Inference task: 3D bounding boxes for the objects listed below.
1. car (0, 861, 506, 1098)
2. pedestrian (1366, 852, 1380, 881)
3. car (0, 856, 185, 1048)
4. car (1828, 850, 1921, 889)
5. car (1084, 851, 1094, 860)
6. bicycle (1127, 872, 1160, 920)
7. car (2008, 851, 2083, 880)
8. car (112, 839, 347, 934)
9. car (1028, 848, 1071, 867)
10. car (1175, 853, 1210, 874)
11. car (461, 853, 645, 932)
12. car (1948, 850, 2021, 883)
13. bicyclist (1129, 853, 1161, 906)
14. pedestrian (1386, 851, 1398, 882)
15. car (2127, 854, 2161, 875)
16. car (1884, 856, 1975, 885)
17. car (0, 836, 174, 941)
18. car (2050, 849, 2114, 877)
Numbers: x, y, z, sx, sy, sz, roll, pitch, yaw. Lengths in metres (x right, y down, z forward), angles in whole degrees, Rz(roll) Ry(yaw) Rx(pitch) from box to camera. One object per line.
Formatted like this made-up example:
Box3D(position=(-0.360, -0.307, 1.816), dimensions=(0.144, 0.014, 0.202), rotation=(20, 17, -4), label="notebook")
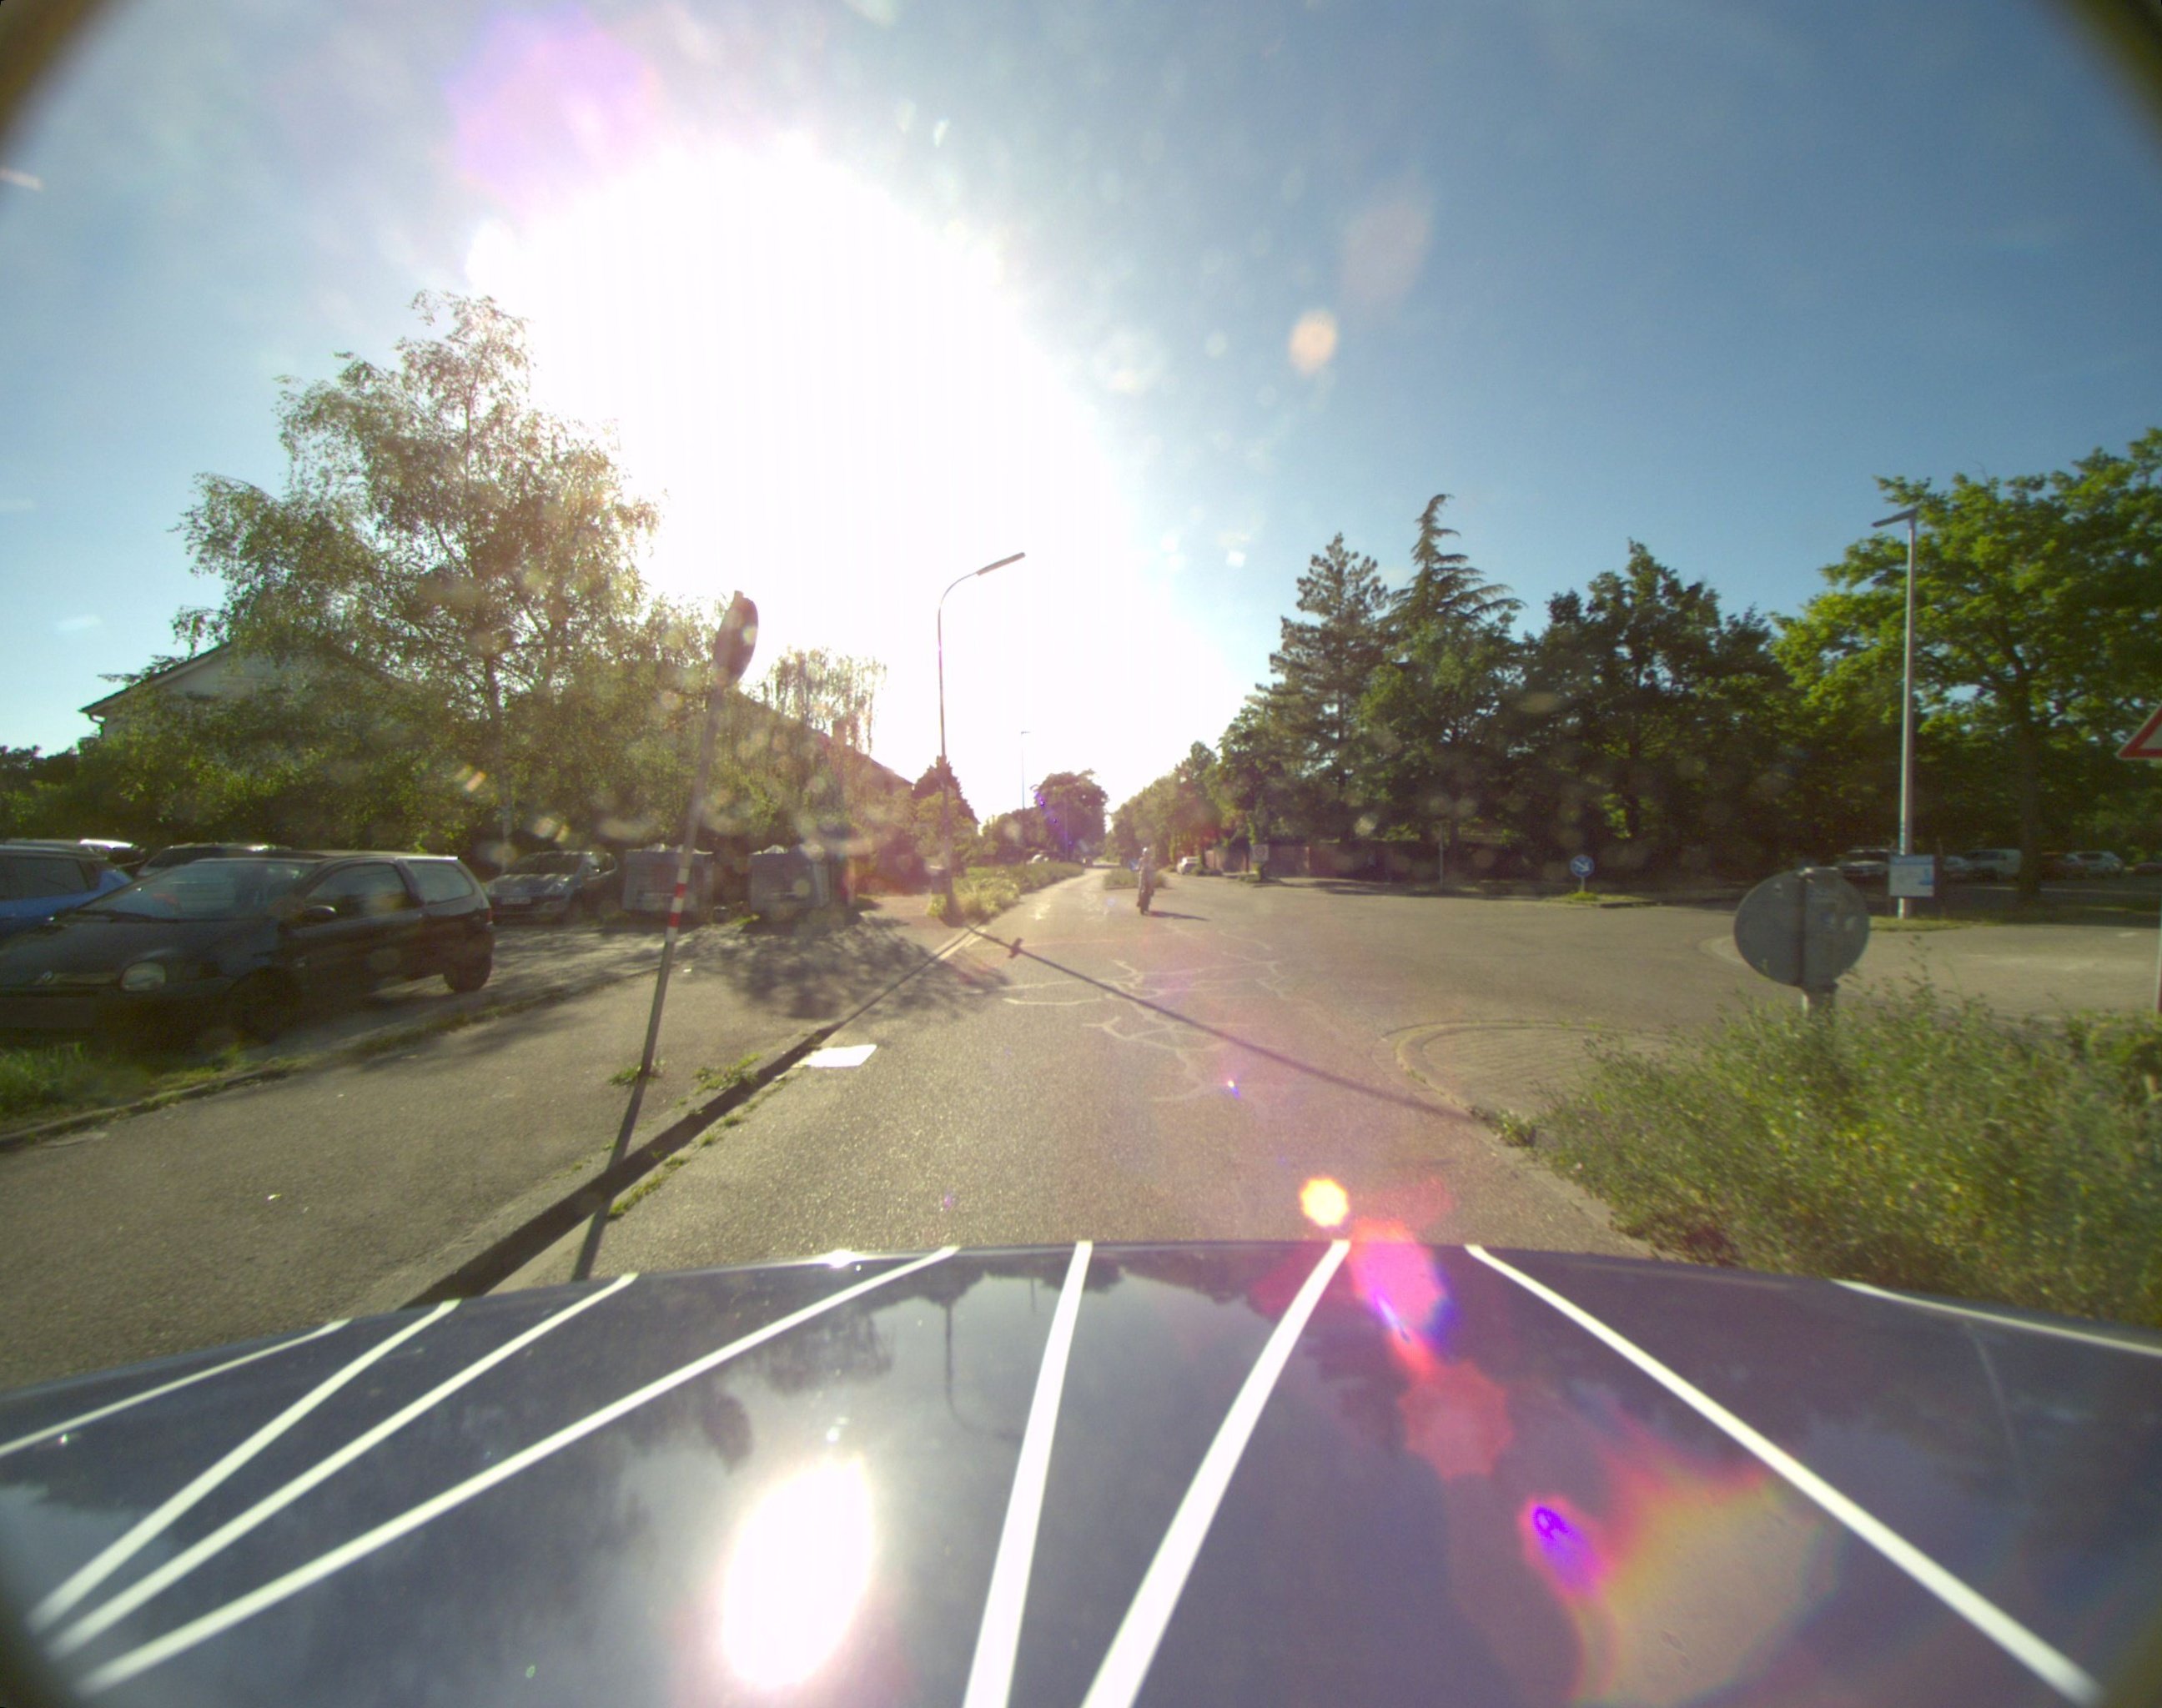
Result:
Box3D(position=(-6.952, 0.798, 6.476), dimensions=(1.703, 1.458, 3.531), rotation=(0, 0, -7), label="car")
Box3D(position=(15.185, 0.659, 39.485), dimensions=(0.539, 1.512, 0.395), rotation=(-1, 1, -24), label="pedestrian")
Box3D(position=(-9.306, 0.791, 5.521), dimensions=(1.651, 1.488, 3.688), rotation=(0, 1, -11), label="car")
Box3D(position=(38.652, 0.727, 37.008), dimensions=(4.640, 1.739, 1.752), rotation=(-1, 0, -26), label="car")
Box3D(position=(1.693, 0.321, 162.409), dimensions=(1.998, 1.805, 4.000), rotation=(-1, 1, 1), label="car")
Box3D(position=(1.648, 1.066, 19.840), dimensions=(0.457, 1.138, 1.900), rotation=(0, 0, 17), label="bicycle")
Box3D(position=(55.964, 0.669, 44.099), dimensions=(3.757, 1.629, 1.770), rotation=(0, 0, -23), label="car")
Box3D(position=(-16.442, 0.589, 14.971), dimensions=(1.794, 1.593, 4.057), rotation=(1, -1, -29), label="car")
Box3D(position=(-2.934, 0.311, 70.629), dimensions=(3.657, 1.707, 1.744), rotation=(-1, 1, -36), label="car")
Box3D(position=(9.265, 0.748, 63.211), dimensions=(1.999, 1.649, 3.998), rotation=(-1, 1, -5), label="car")
Box3D(position=(-10.894, 0.743, 16.045), dimensions=(1.635, 1.430, 4.063), rotation=(-1, -1, -10), label="car")
Box3D(position=(49.102, 0.659, 41.307), dimensions=(3.806, 1.744, 1.498), rotation=(0, 0, -23), label="car")
Box3D(position=(1.686, 0.657, 19.993), dimensions=(0.637, 1.339, 0.839), rotation=(0, 1, 18), label="bicyclist")
Box3D(position=(16.020, 0.644, 39.129), dimensions=(0.396, 1.552, 0.538), rotation=(0, 2, 3), label="pedestrian")
Box3D(position=(71.418, 0.656, 50.407), dimensions=(3.470, 1.351, 1.498), rotation=(0, 0, -21), label="car")
Box3D(position=(44.017, 0.833, 39.424), dimensions=(4.619, 1.435, 1.721), rotation=(0, -2, -23), label="car")
Box3D(position=(-19.023, 0.575, 13.879), dimensions=(1.794, 1.696, 4.108), rotation=(1, -1, -30), label="car")
Box3D(position=(61.301, 0.531, 46.531), dimensions=(3.757, 1.629, 1.498), rotation=(0, 0, -23), label="car")
